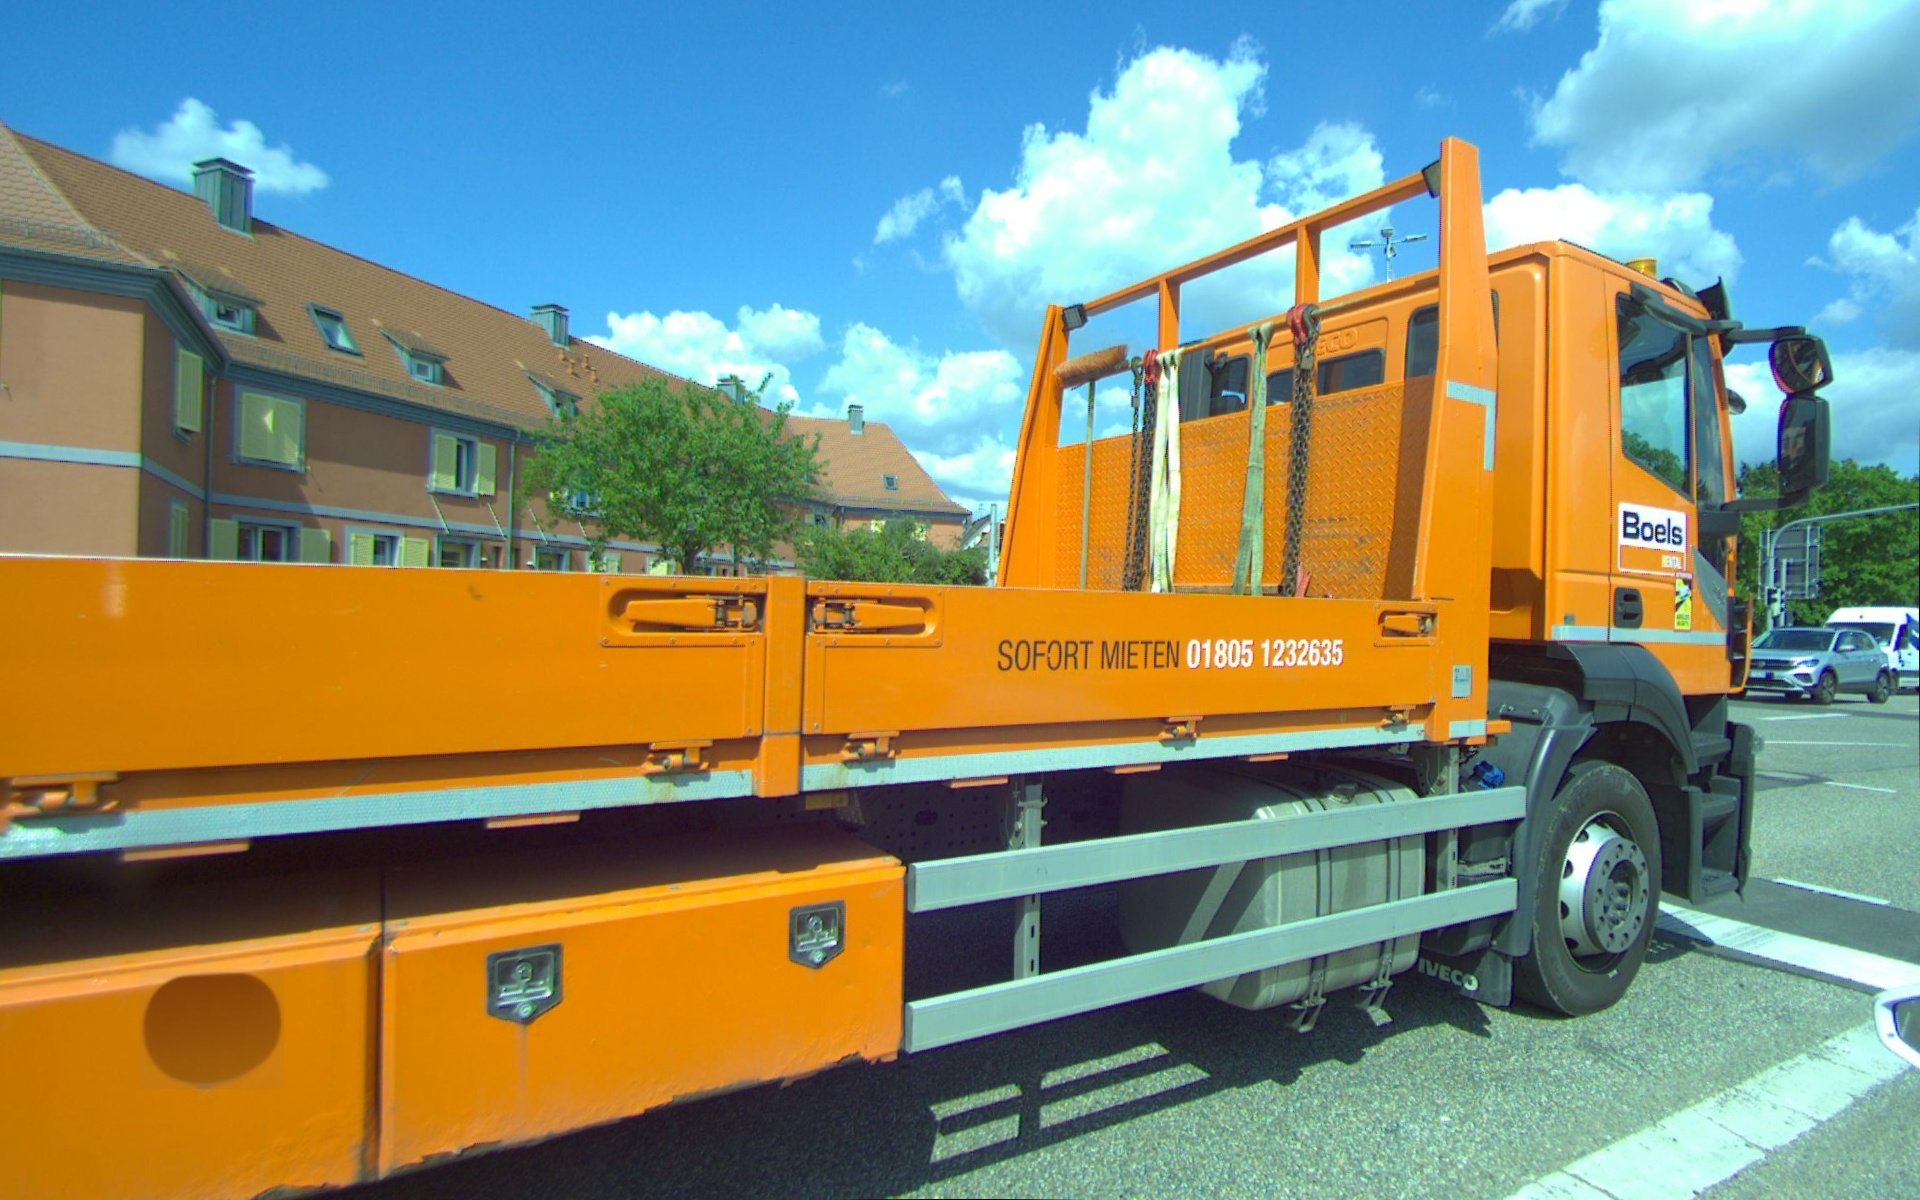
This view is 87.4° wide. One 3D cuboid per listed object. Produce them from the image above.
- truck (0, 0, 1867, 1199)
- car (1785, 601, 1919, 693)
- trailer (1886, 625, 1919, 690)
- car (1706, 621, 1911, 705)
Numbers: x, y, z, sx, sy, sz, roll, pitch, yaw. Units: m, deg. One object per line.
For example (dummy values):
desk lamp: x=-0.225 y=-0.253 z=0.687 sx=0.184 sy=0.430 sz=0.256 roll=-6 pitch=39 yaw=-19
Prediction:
truck: x=-1.727 y=-0.479 z=2.725 sx=10.942 sy=3.459 sz=3.055 roll=3 pitch=1 yaw=-31
car: x=27.843 y=1.436 z=30.360 sx=5.889 sy=2.504 sz=2.166 roll=3 pitch=1 yaw=-26
trailer: x=33.501 y=2.000 z=33.490 sx=5.094 sy=2.040 sz=2.117 roll=3 pitch=1 yaw=-26
car: x=18.136 y=1.352 z=21.442 sx=4.252 sy=1.564 sz=1.729 roll=3 pitch=1 yaw=-26
